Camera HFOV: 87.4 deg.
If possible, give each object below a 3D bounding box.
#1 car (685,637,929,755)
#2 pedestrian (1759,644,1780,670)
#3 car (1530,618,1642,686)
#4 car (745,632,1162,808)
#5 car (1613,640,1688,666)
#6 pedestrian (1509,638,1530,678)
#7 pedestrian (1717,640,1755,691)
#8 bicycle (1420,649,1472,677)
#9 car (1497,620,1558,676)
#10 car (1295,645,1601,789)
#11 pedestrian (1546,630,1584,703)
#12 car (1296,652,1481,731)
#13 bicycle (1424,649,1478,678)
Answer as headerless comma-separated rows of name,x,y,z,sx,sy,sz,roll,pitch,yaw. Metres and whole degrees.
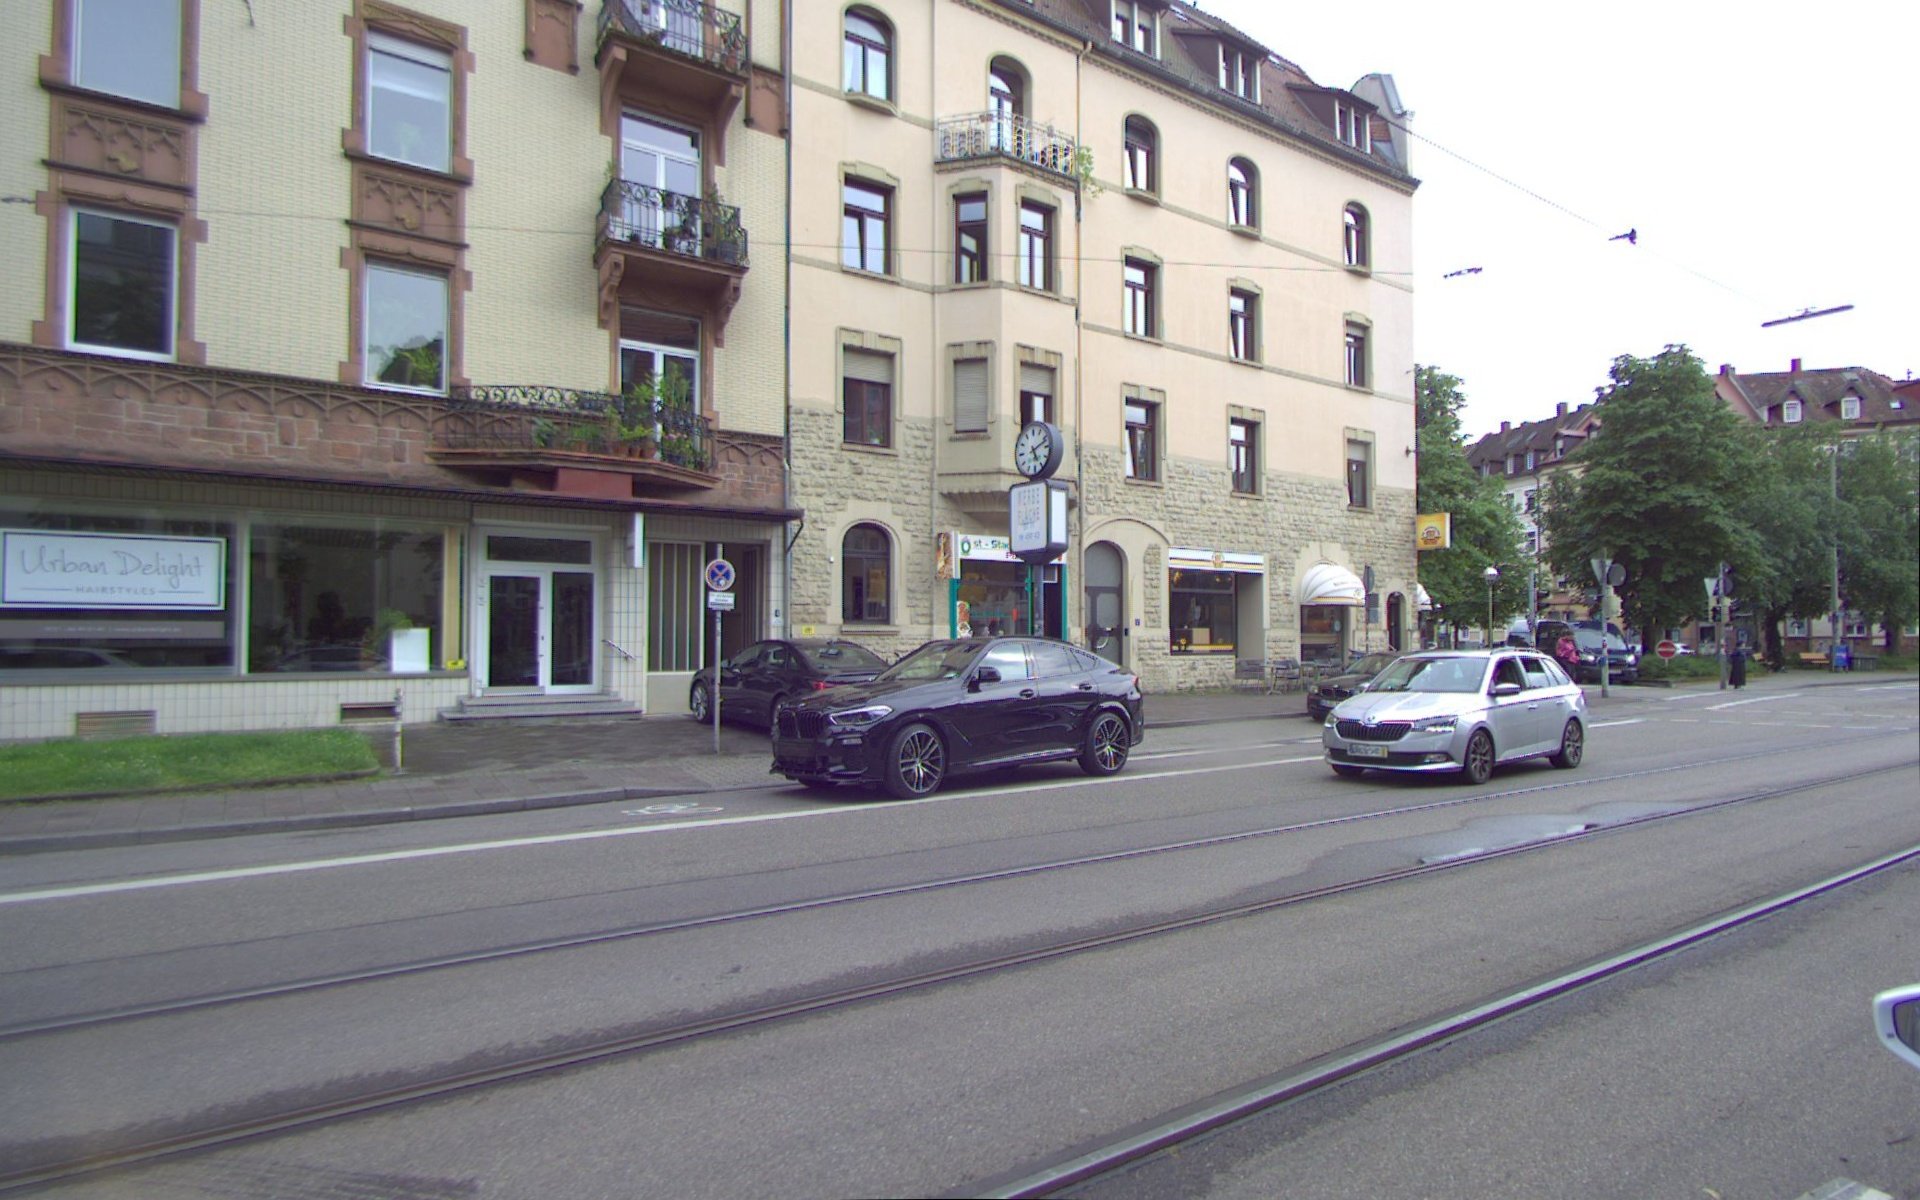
car,-2.510,1.349,15.532,1.863,1.388,4.393,2,0,-37
pedestrian,37.223,2.615,46.202,0.579,1.183,0.844,-1,-3,28
car,24.114,1.983,38.950,2.142,2.449,5.384,-1,-3,15
car,0.102,1.275,11.735,4.851,1.632,1.867,3,-6,-42
car,44.960,3.454,65.439,3.809,1.644,1.717,-3,-4,43
pedestrian,24.634,2.554,44.231,0.686,1.738,0.552,-1,-2,17
pedestrian,26.095,2.182,33.799,0.584,1.685,0.832,1,-3,-31
bicycle,18.705,2.419,38.666,1.777,1.091,0.359,0,-2,11
car,27.563,2.317,48.944,2.145,2.560,5.377,-1,-3,25
car,5.871,1.271,11.924,3.965,1.429,1.677,2,-4,-38
pedestrian,15.731,1.721,26.126,0.604,1.866,0.619,2,-3,-35
car,8.897,1.815,20.747,4.089,1.379,1.637,2,0,-36
bicycle,18.523,2.384,37.920,1.777,1.091,0.359,0,-2,11
